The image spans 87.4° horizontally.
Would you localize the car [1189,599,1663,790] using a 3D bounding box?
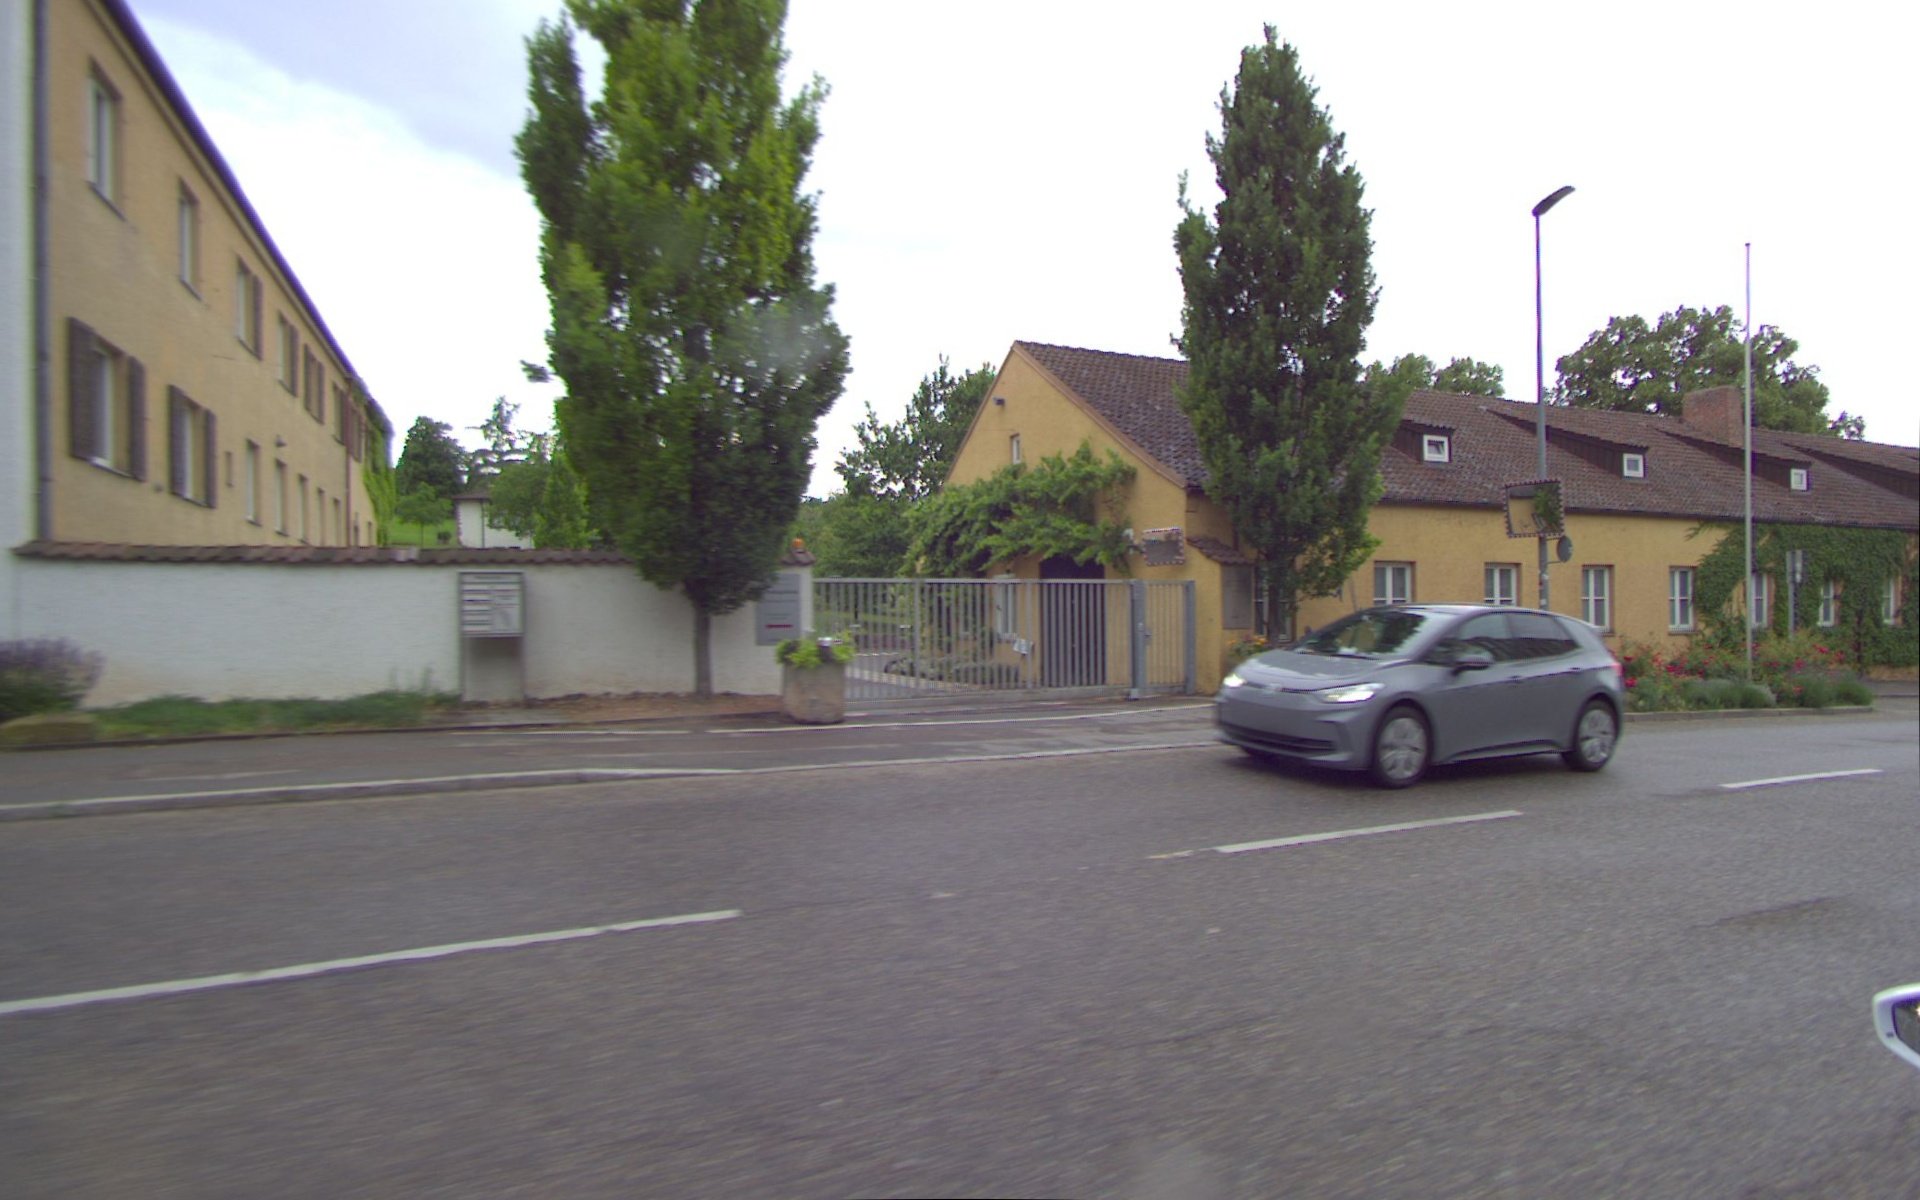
[{"bbox_3d":[4.562,0.801,9.724,4.413,1.477,1.875,2,0,-28],"label":"car"}]
